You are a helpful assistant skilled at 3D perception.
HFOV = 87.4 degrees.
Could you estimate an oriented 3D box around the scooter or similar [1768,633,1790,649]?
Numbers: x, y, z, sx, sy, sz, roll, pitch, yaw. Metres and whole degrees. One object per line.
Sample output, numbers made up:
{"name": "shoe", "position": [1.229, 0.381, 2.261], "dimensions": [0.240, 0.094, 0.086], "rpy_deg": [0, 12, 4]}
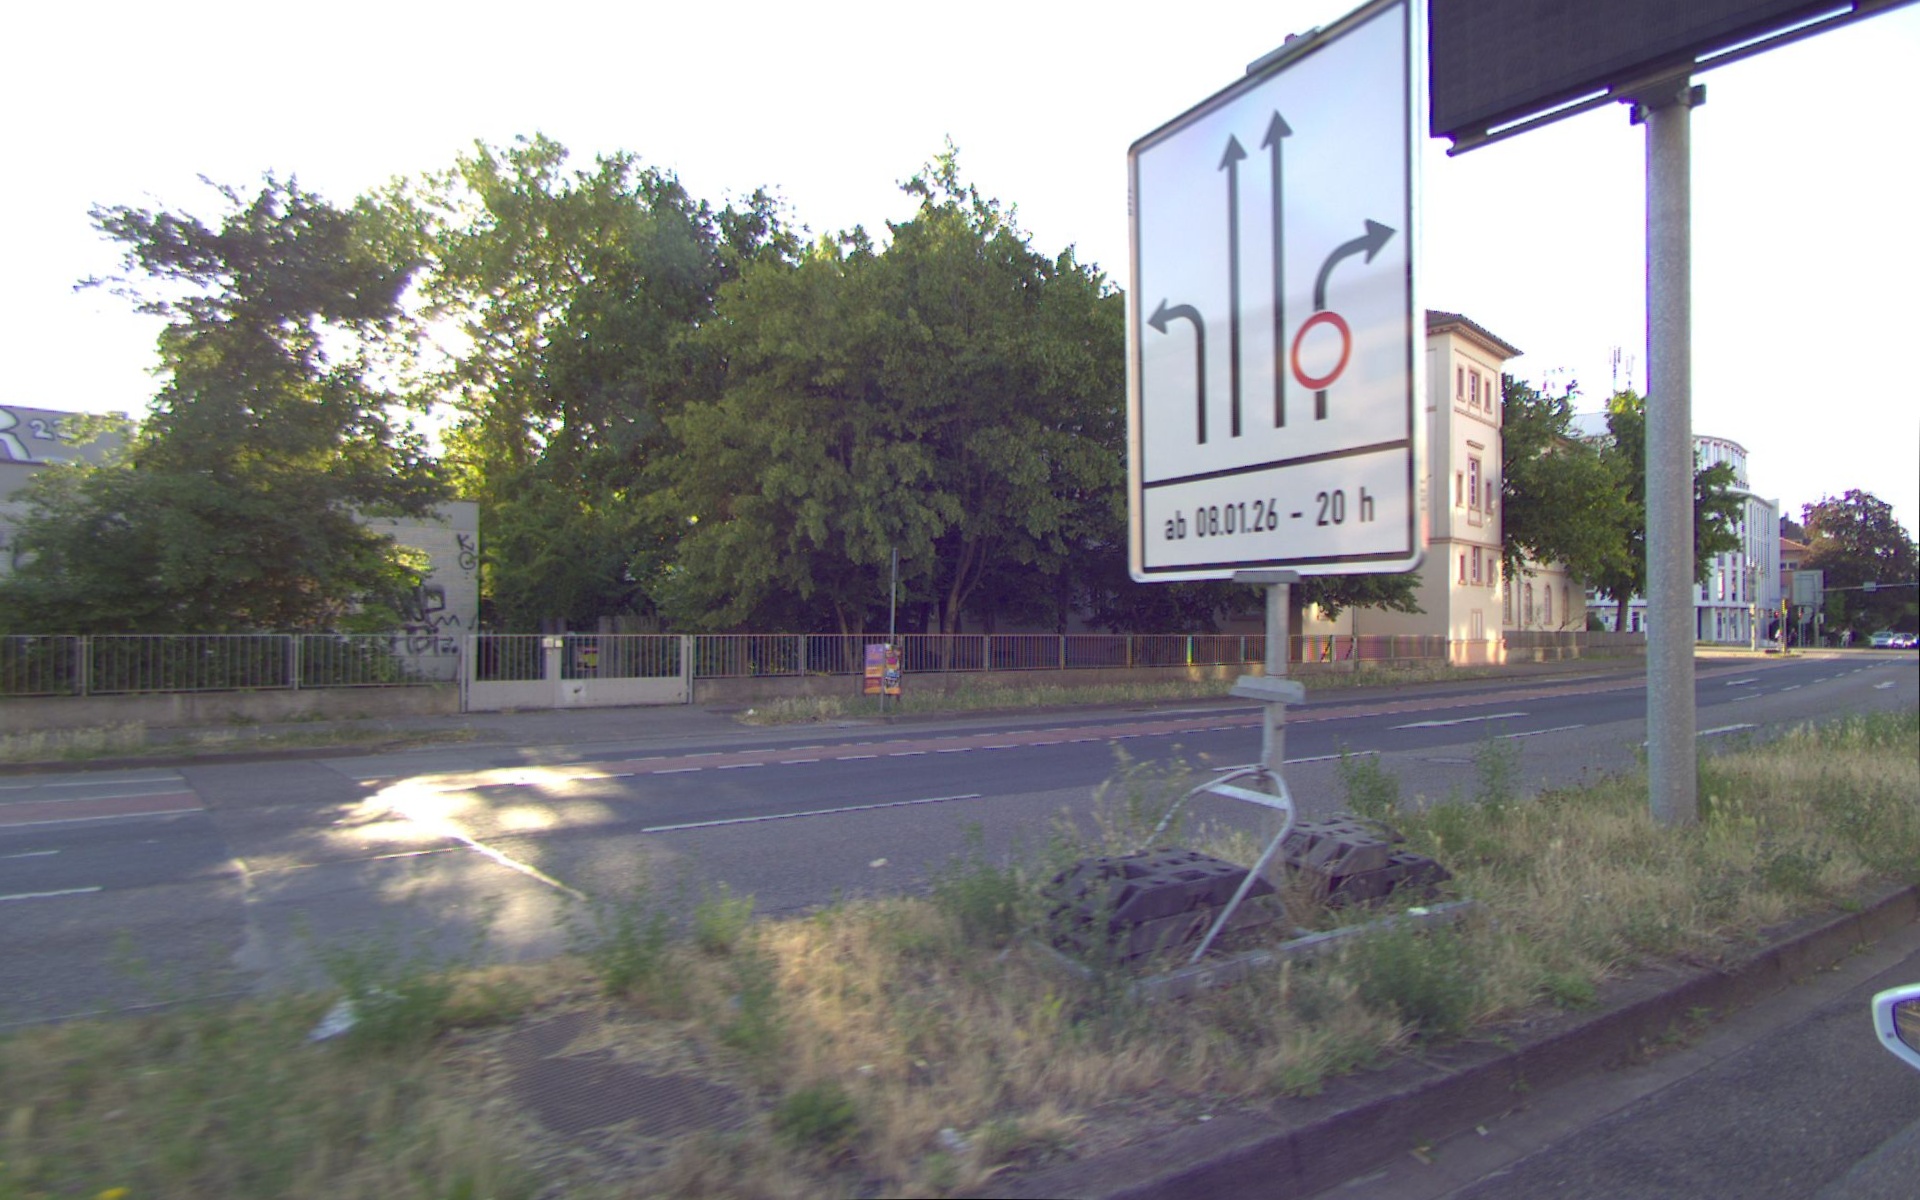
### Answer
{"name": "scooter or similar", "position": [55.354, 2.778, 67.903], "dimensions": [1.085, 0.989, 0.557], "rpy_deg": [1, 0, 38]}

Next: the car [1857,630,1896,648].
{"name": "car", "position": [85.486, 3.655, 93.676], "dimensions": [3.962, 1.616, 1.980], "rpy_deg": [1, -1, -36]}

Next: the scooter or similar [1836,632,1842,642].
{"name": "scooter or similar", "position": [81.075, 3.387, 92.650], "dimensions": [0.898, 0.907, 0.354], "rpy_deg": [1, -2, -43]}

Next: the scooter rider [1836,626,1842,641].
{"name": "scooter rider", "position": [81.059, 3.091, 92.637], "dimensions": [0.334, 1.391, 0.352], "rpy_deg": [1, -2, -42]}

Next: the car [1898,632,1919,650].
{"name": "car", "position": [87.593, 3.762, 91.850], "dimensions": [3.962, 1.616, 1.980], "rpy_deg": [1, -1, -36]}

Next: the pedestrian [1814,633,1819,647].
{"name": "pedestrian", "position": [80.902, 3.809, 94.889], "dimensions": [0.376, 1.307, 0.351], "rpy_deg": [1, -2, -42]}

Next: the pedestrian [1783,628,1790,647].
{"name": "pedestrian", "position": [73.846, 3.370, 89.740], "dimensions": [0.371, 1.681, 0.567], "rpy_deg": [-1, -2, 36]}

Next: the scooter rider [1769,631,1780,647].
{"name": "scooter rider", "position": [55.183, 2.665, 68.047], "dimensions": [0.502, 1.049, 0.445], "rpy_deg": [1, 0, 37]}
